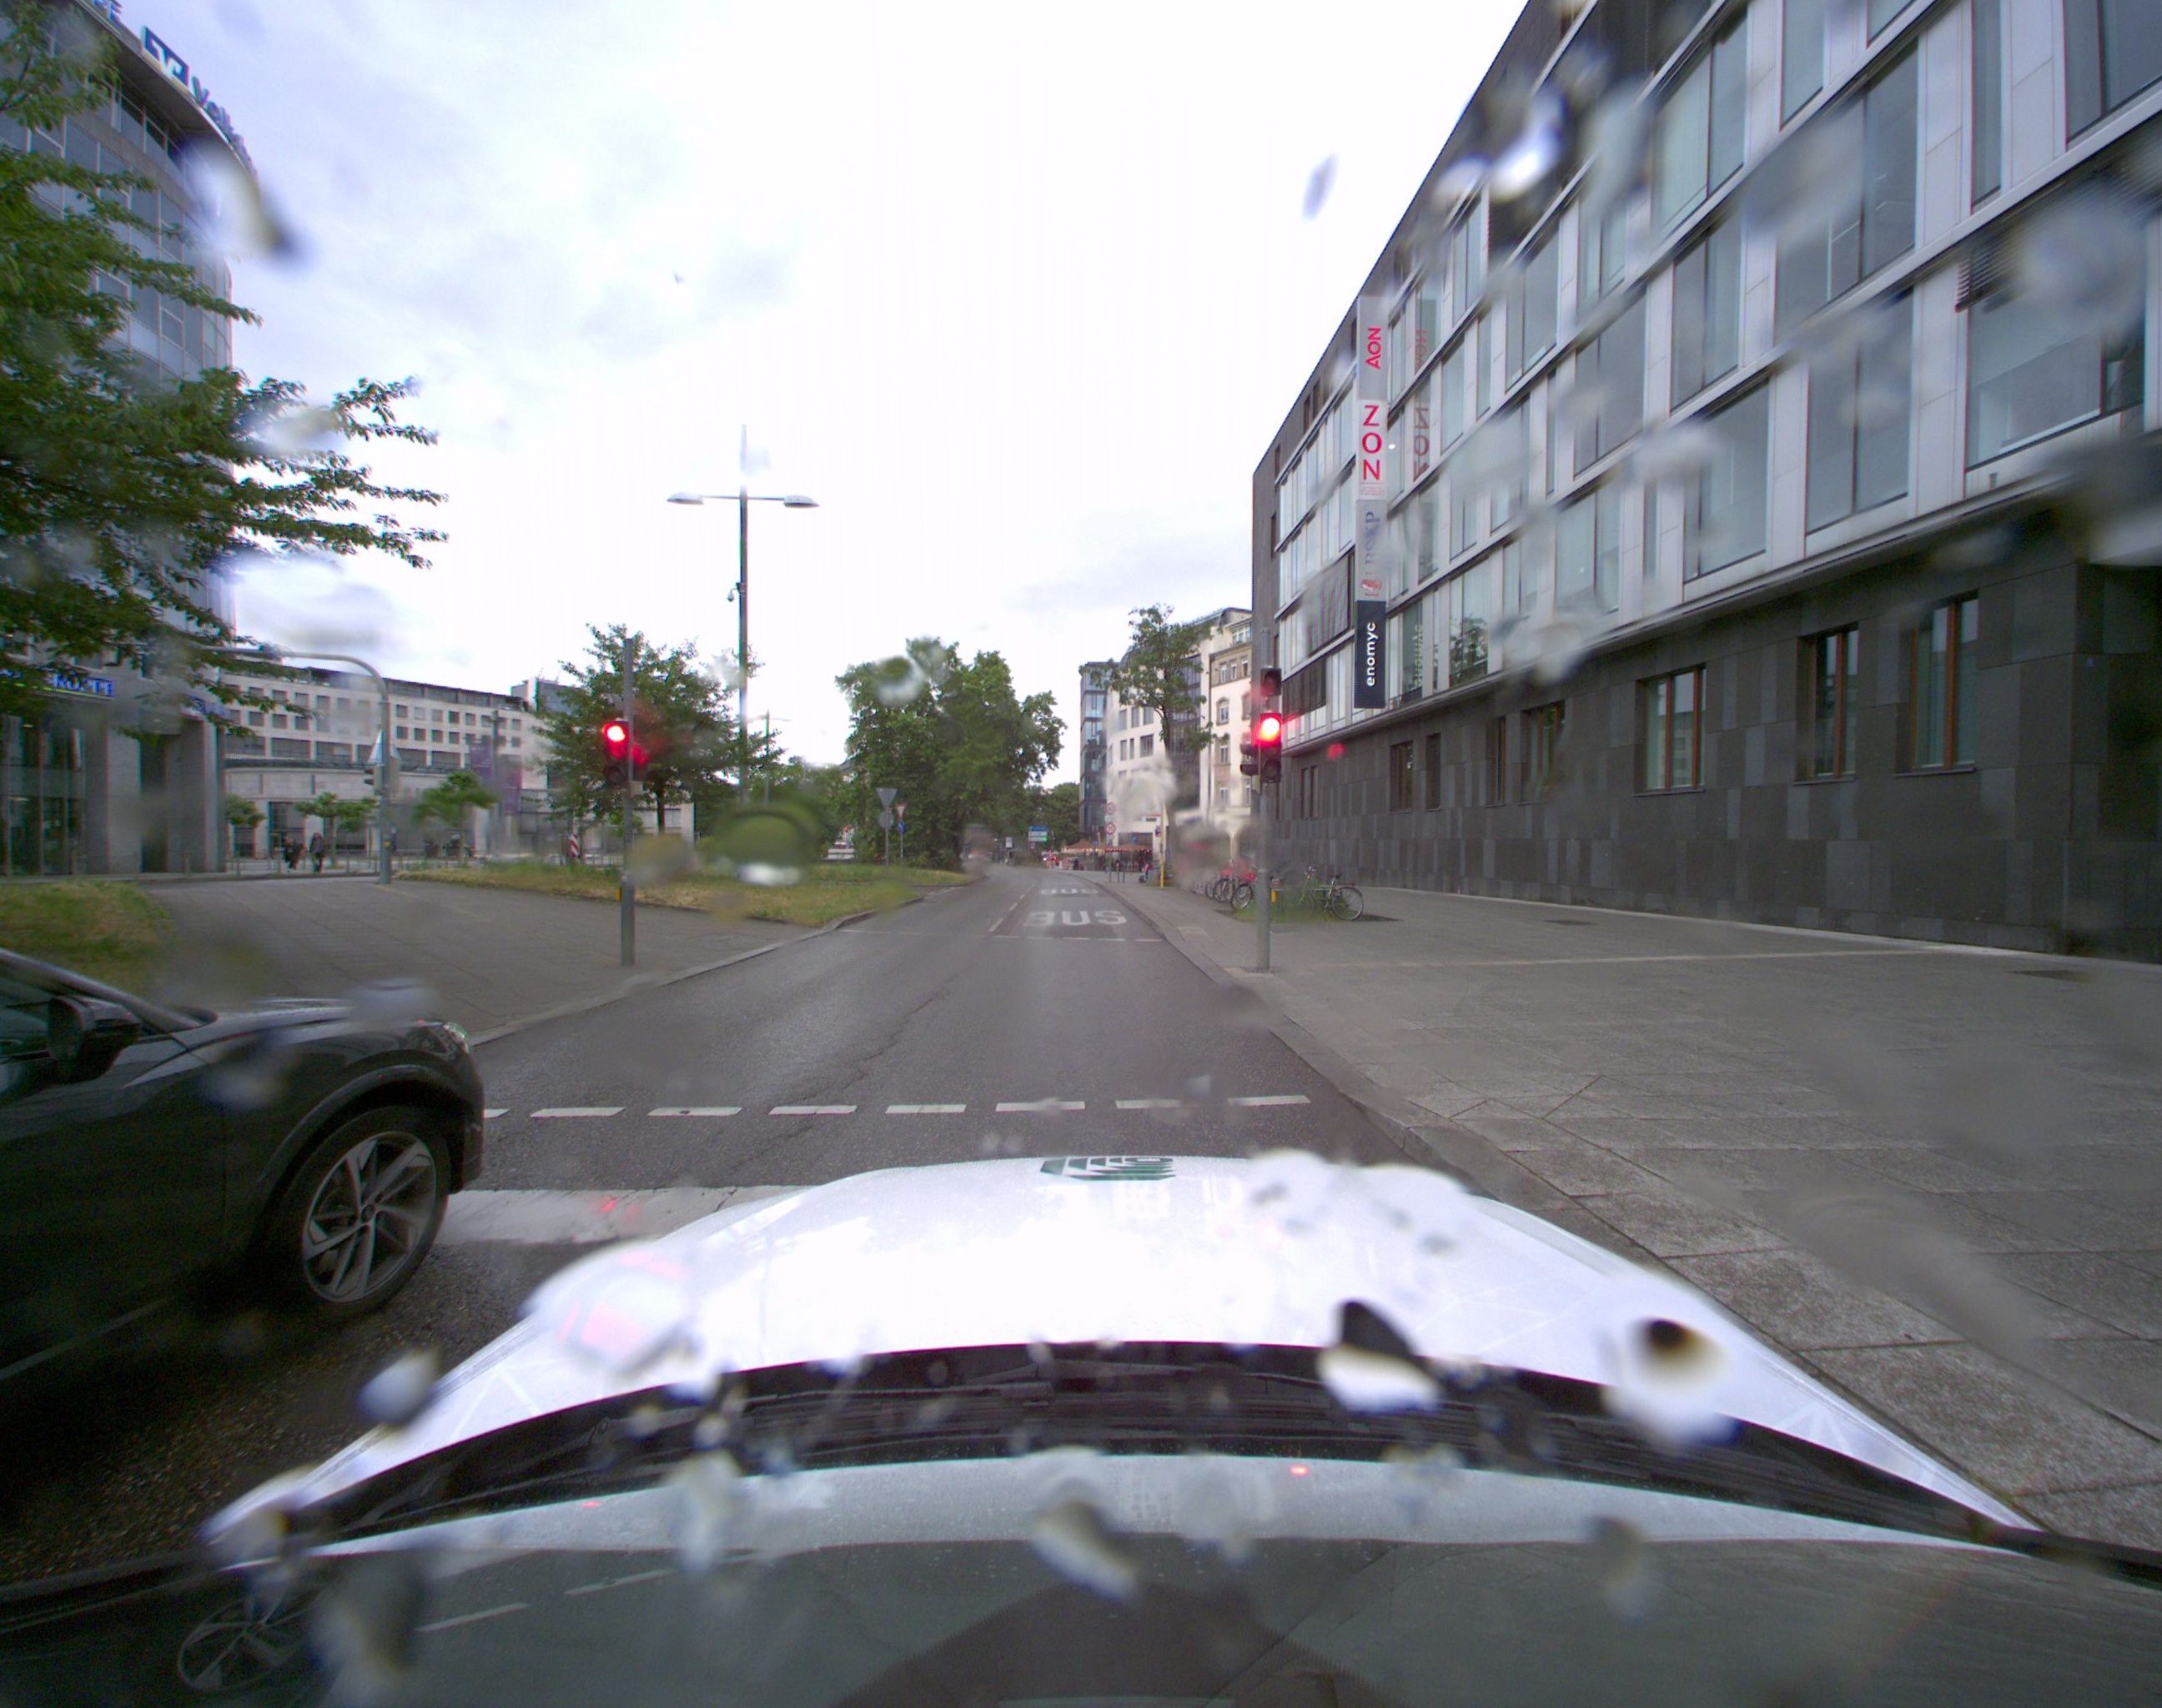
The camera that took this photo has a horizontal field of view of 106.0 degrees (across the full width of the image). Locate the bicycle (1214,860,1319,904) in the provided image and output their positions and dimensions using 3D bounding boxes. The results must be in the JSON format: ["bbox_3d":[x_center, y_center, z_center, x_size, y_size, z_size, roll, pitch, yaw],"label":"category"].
[{"bbox_3d":[4.723,0.699,20.847,2.530,1.087,0.677,-1,0,-3],"label":"bicycle"}]

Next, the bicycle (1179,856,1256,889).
[{"bbox_3d":[4.685,0.641,28.094,2.530,1.087,0.677,-1,0,-3],"label":"bicycle"}]

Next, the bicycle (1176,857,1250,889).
[{"bbox_3d":[4.662,0.654,28.843,2.530,1.087,0.677,-1,0,-3],"label":"bicycle"}]

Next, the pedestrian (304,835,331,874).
[{"bbox_3d":[-35.510,0.022,37.883,0.622,1.763,0.721,-2,0,-20],"label":"pedestrian"}]

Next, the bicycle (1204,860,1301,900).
[{"bbox_3d":[4.726,0.698,22.525,2.530,1.060,0.677,-1,0,-3],"label":"bicycle"}]

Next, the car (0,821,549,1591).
[{"bbox_3d":[-3.175,0.731,1.325,1.842,1.616,4.251,1,1,-1],"label":"car"}]

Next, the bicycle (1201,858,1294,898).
[{"bbox_3d":[4.784,0.683,23.433,2.530,1.087,0.677,-1,0,-3],"label":"bicycle"}]

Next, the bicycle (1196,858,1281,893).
[{"bbox_3d":[4.934,0.667,25.606,2.530,1.087,0.677,-1,0,-3],"label":"bicycle"}]

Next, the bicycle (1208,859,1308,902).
[{"bbox_3d":[4.692,0.696,21.658,2.530,1.087,0.677,-1,0,-3],"label":"bicycle"}]

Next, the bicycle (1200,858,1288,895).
[{"bbox_3d":[4.914,0.668,24.628,2.530,1.087,0.677,-1,0,-3],"label":"bicycle"}]

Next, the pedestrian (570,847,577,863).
[{"bbox_3d":[-53.629,0.128,86.013,0.578,1.699,0.590,2,0,-29],"label":"pedestrian"}]

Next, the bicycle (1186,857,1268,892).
[{"bbox_3d":[4.722,0.667,26.451,2.530,1.087,0.677,-1,0,-3],"label":"bicycle"}]

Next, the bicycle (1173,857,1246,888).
[{"bbox_3d":[4.650,0.663,29.566,2.530,1.087,0.627,-1,0,-3],"label":"bicycle"}]

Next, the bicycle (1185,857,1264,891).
[{"bbox_3d":[4.780,0.651,27.202,2.530,1.087,0.677,-1,0,-3],"label":"bicycle"}]

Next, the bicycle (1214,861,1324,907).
[{"bbox_3d":[4.597,0.720,19.994,2.530,1.087,0.677,-1,0,-3],"label":"bicycle"}]

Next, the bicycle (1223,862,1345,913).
[{"bbox_3d":[4.451,0.730,17.967,2.530,1.087,0.677,0,0,-3],"label":"bicycle"}]

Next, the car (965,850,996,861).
[{"bbox_3d":[-14.795,0.234,120.126,4.017,1.700,2.162,0,0,-36],"label":"car"}]

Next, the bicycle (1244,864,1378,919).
[{"bbox_3d":[4.630,0.743,16.484,2.530,1.057,0.677,0,0,-3],"label":"bicycle"}]

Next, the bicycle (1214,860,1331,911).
[{"bbox_3d":[4.399,0.718,18.772,2.530,1.087,0.677,2,0,-3],"label":"bicycle"}]

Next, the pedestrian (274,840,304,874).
[{"bbox_3d":[-36.553,0.149,37.594,0.730,1.516,0.687,-2,0,-18],"label":"pedestrian"}]
